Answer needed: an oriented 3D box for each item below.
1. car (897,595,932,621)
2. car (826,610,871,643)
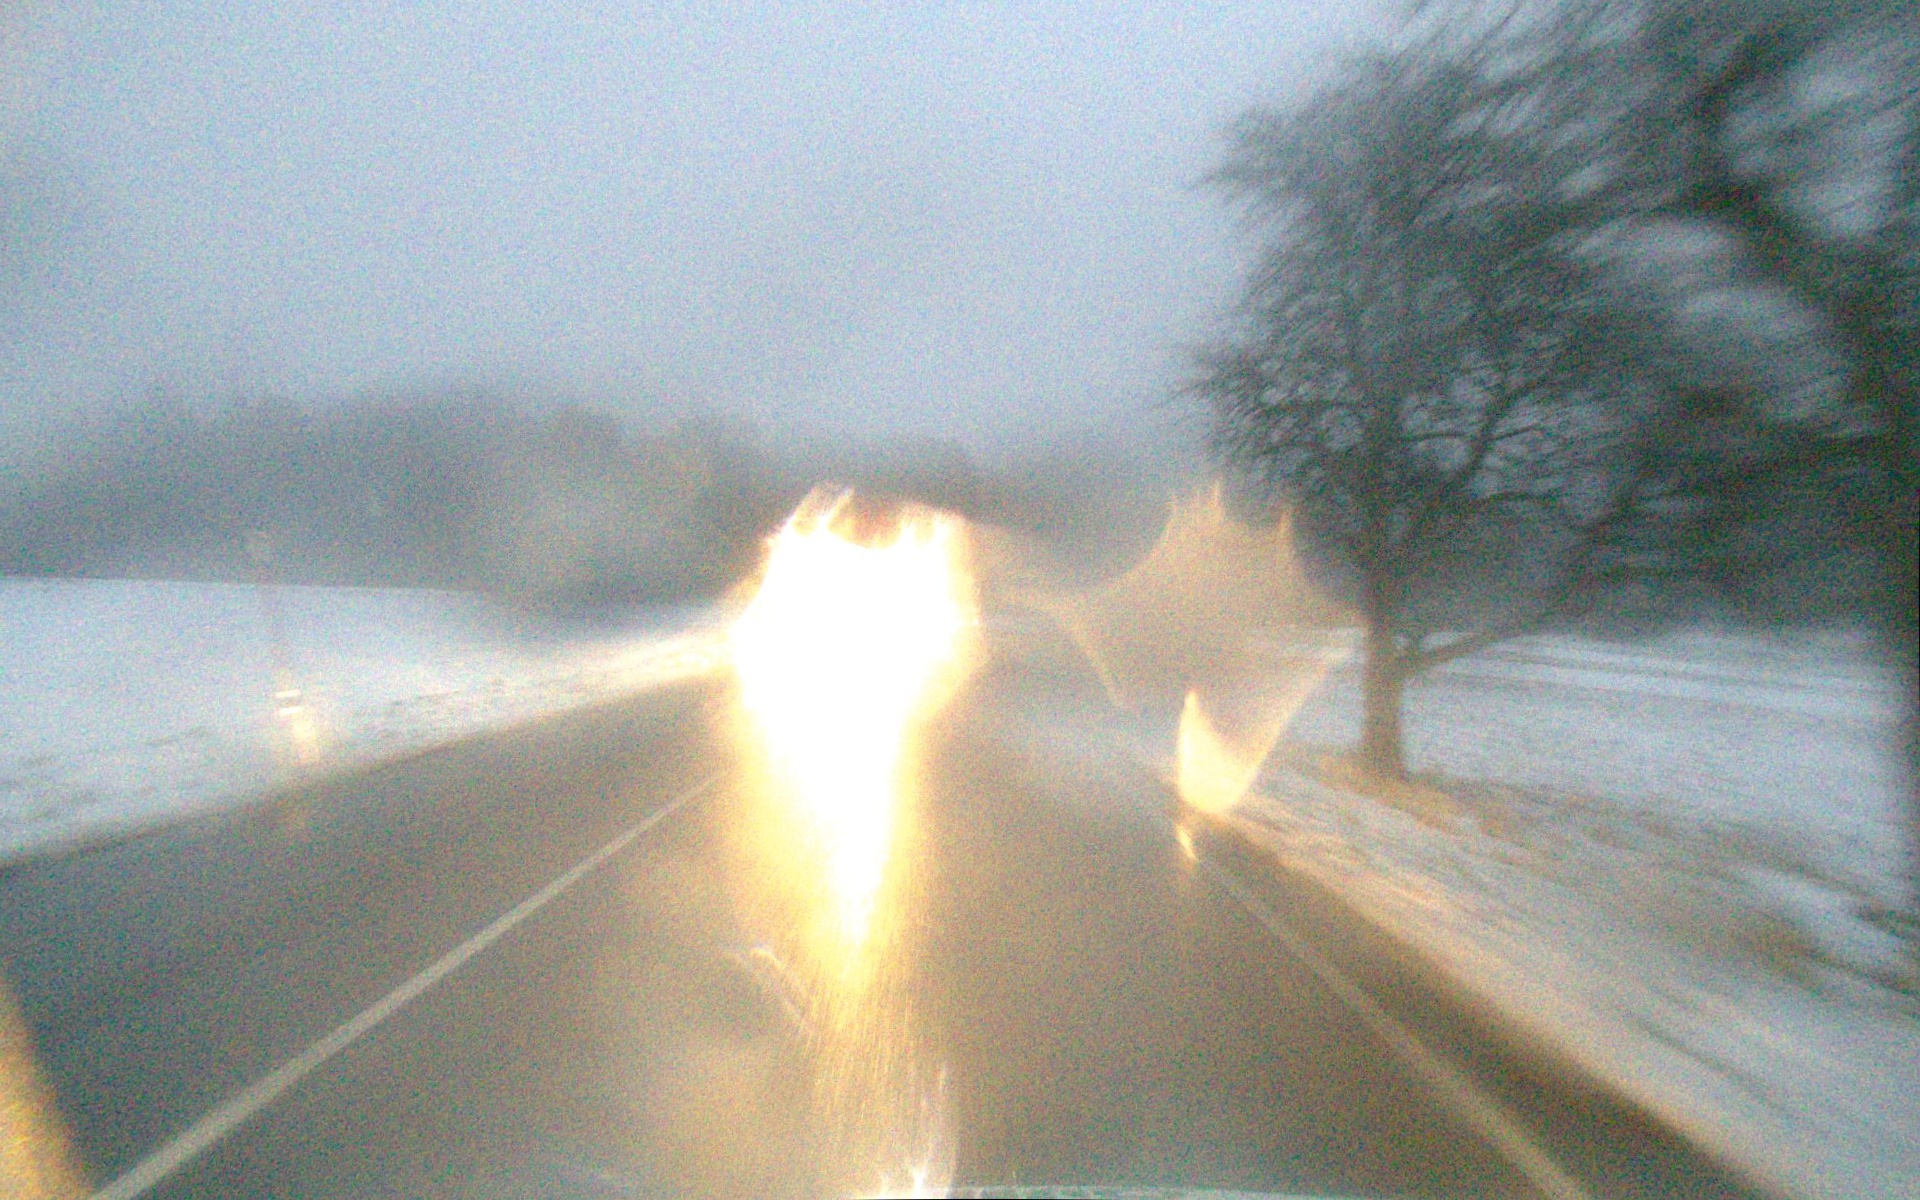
[{"bbox_3d":[-4.075,0.718,147.275,1.952,2.086,4.003,5,2,14],"label":"car"},{"bbox_3d":[-4.789,1.120,71.540,1.692,1.370,4.221,-1,0,-1],"label":"car"}]
